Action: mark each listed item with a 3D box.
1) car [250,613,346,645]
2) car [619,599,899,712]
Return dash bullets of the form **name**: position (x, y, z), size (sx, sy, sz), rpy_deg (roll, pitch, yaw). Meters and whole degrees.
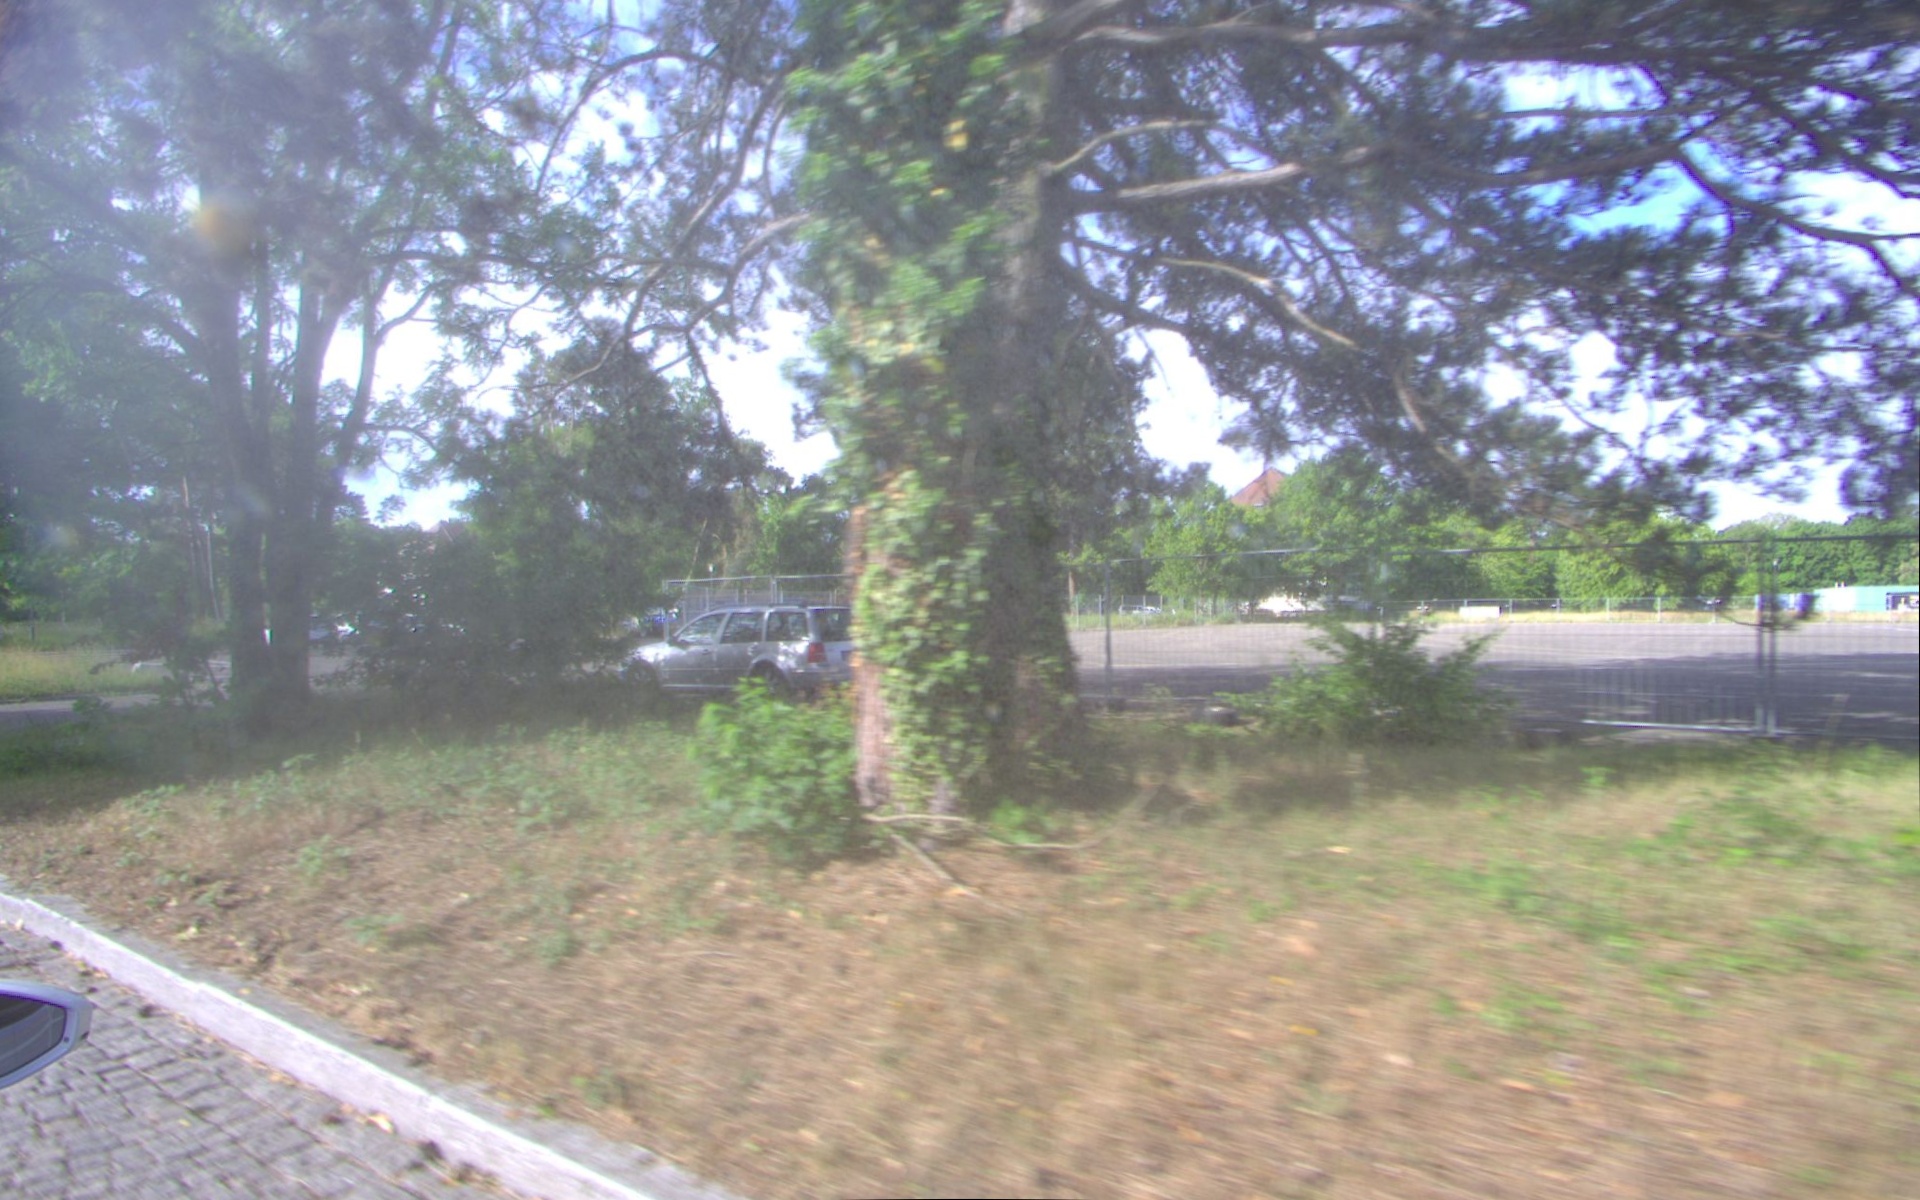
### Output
- **car**: position (-28.764, 1.224, 43.490), size (4.266, 1.329, 1.729), rpy_deg (0, 0, 30)
- **car**: position (-3.009, 0.750, 14.826), size (3.939, 1.487, 1.665), rpy_deg (-1, 0, 29)
